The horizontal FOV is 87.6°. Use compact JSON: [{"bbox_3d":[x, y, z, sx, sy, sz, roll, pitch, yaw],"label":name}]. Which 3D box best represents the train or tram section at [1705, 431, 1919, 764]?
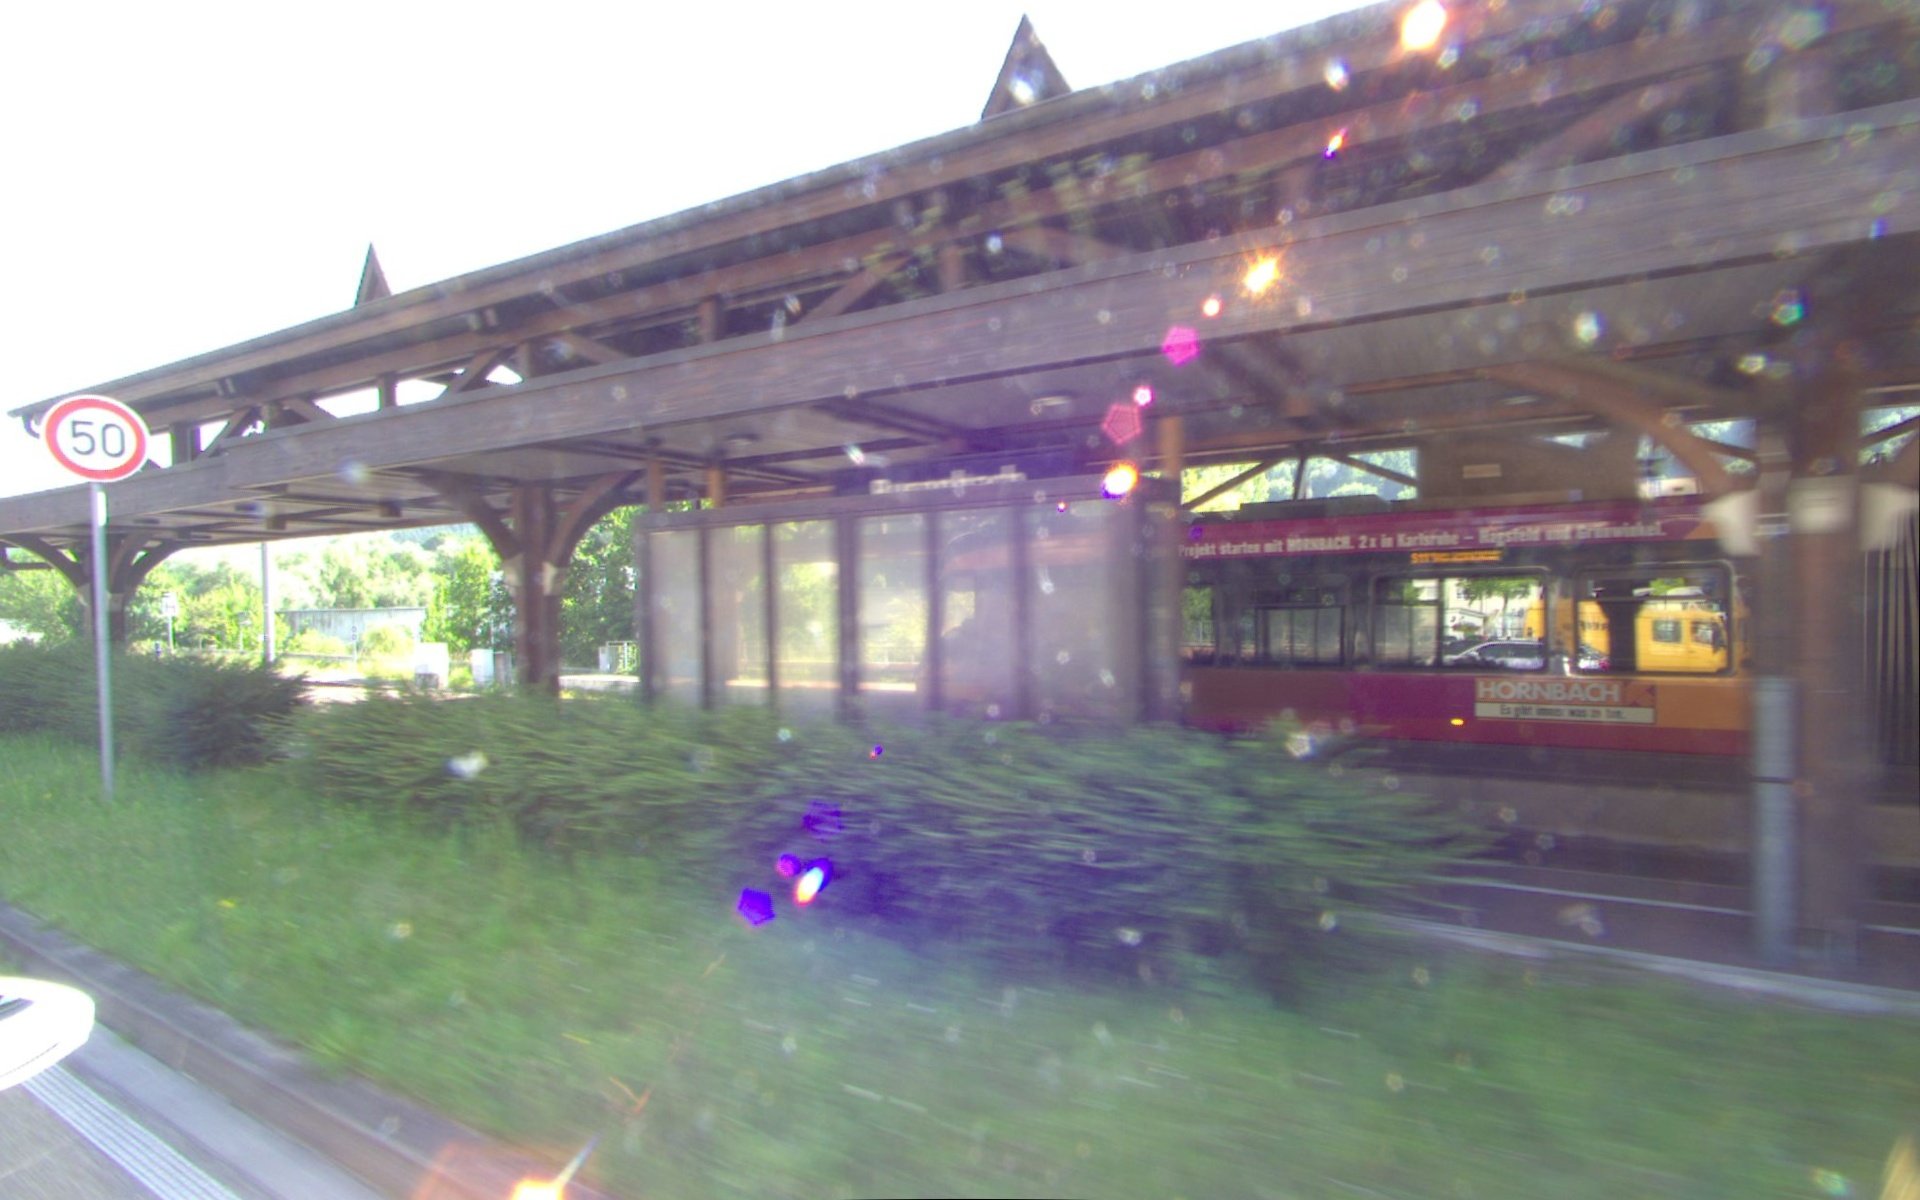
[{"bbox_3d":[14.387,-0.038,9.147,11.869,3.406,2.784,-1,-3,31],"label":"train or tram section"}]

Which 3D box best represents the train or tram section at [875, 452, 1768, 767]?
[{"bbox_3d":[4.362,0.167,15.110,11.870,3.407,2.753,0,-2,31],"label":"train or tram section"}]
